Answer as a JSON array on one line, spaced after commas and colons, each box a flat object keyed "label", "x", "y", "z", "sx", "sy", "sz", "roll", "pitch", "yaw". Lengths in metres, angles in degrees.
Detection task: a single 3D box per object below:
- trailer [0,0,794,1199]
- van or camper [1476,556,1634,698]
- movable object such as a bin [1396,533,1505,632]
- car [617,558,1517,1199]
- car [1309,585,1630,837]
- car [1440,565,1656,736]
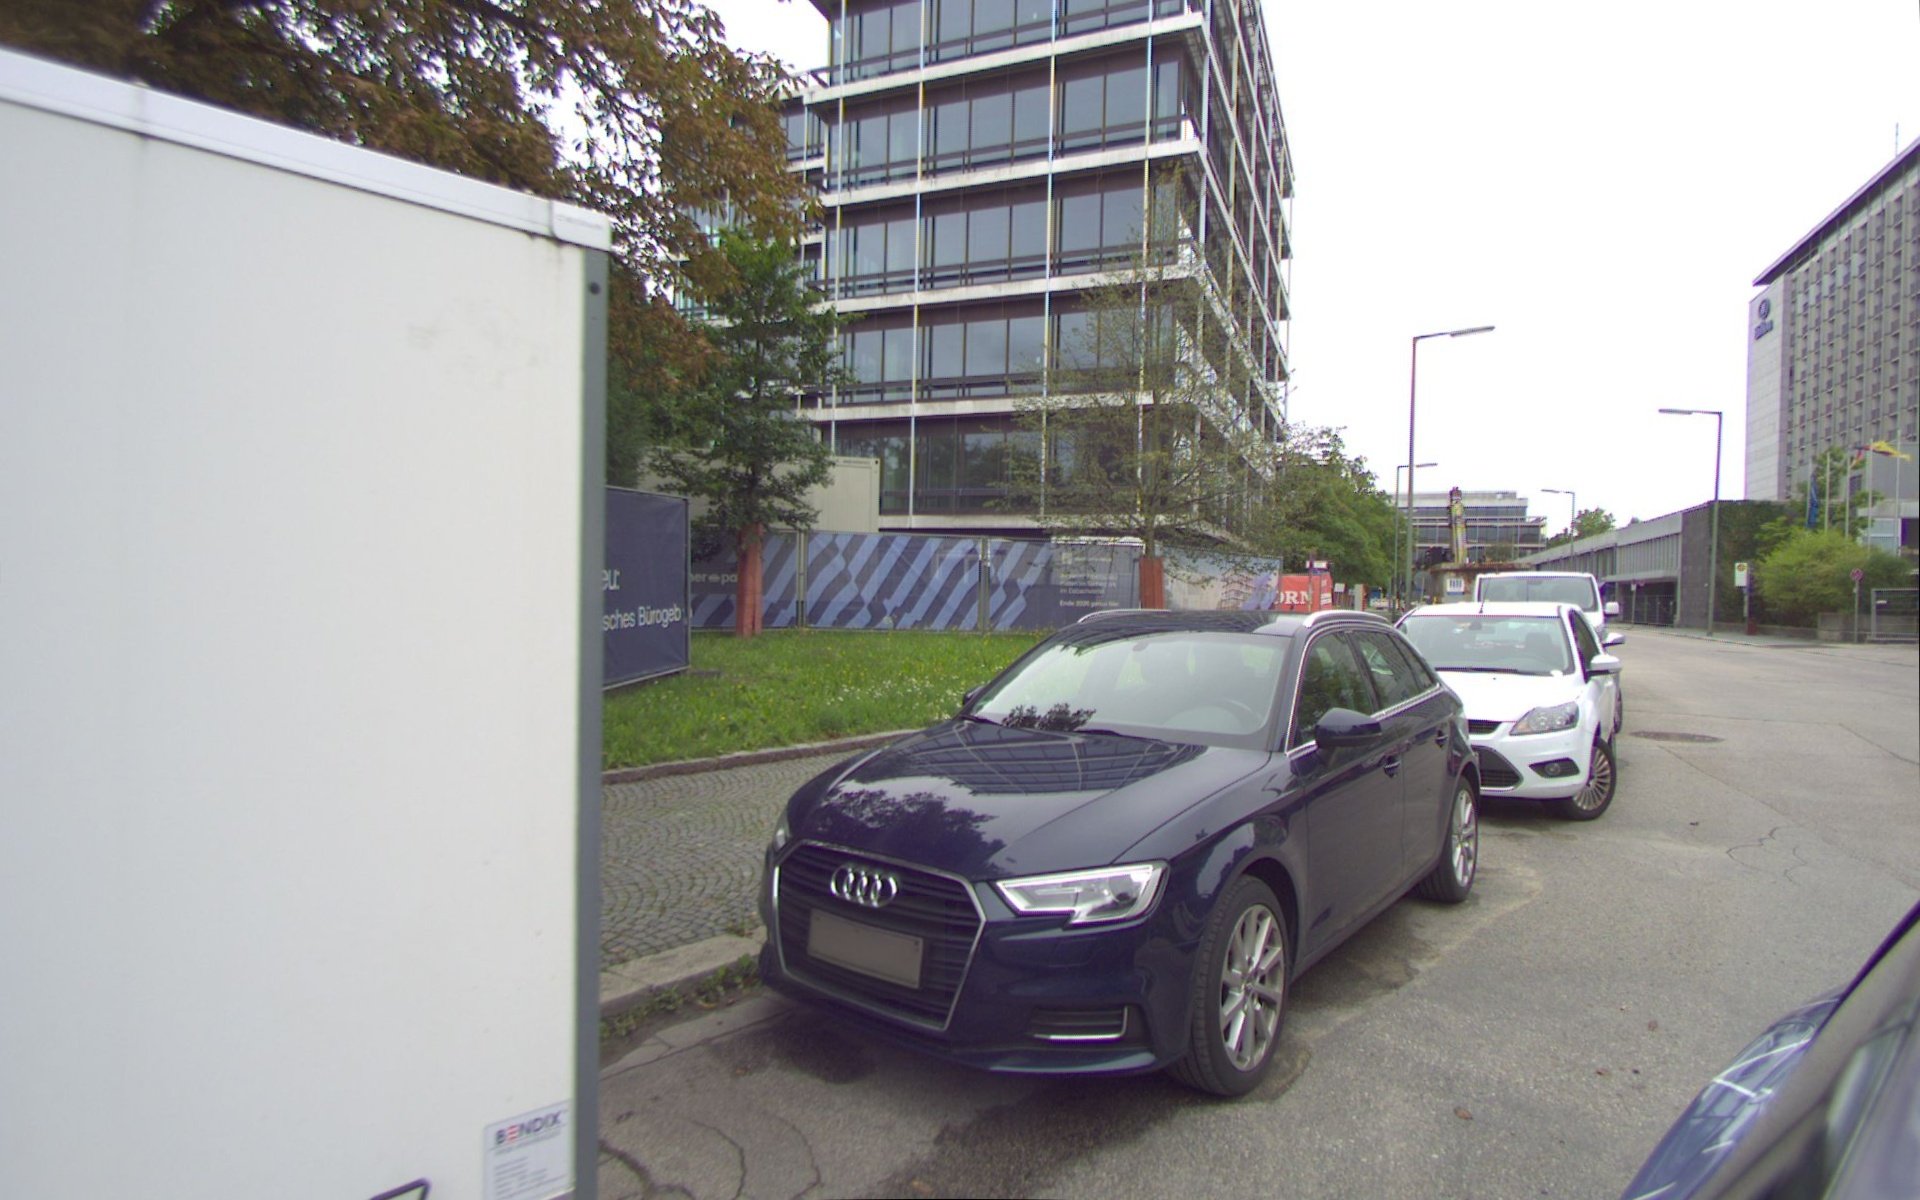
[{"label": "trailer", "x": -2.651, "y": 0.312, "z": 0.675, "sx": 4.747, "sy": 2.038, "sz": 1.813, "roll": 0, "pitch": 2, "yaw": -40}, {"label": "van or camper", "x": 10.053, "y": 0.323, "z": 17.401, "sx": 1.982, "sy": 2.038, "sz": 5.324, "roll": 2, "pitch": 2, "yaw": 28}, {"label": "movable object such as a bin", "x": 20.810, "y": -0.803, "z": 43.500, "sx": 3.211, "sy": 3.762, "sz": 8.950, "roll": 1, "pitch": 2, "yaw": 20}, {"label": "car", "x": 0.926, "y": 0.633, "z": 4.461, "sx": 1.870, "sy": 1.455, "sz": 4.266, "roll": 3, "pitch": 2, "yaw": 40}, {"label": "car", "x": 4.430, "y": 0.657, "z": 8.433, "sx": 1.761, "sy": 1.504, "sz": 4.167, "roll": 2, "pitch": 2, "yaw": 35}, {"label": "car", "x": 7.396, "y": 0.471, "z": 12.879, "sx": 1.983, "sy": 1.749, "sz": 4.403, "roll": 2, "pitch": 2, "yaw": 30}]
